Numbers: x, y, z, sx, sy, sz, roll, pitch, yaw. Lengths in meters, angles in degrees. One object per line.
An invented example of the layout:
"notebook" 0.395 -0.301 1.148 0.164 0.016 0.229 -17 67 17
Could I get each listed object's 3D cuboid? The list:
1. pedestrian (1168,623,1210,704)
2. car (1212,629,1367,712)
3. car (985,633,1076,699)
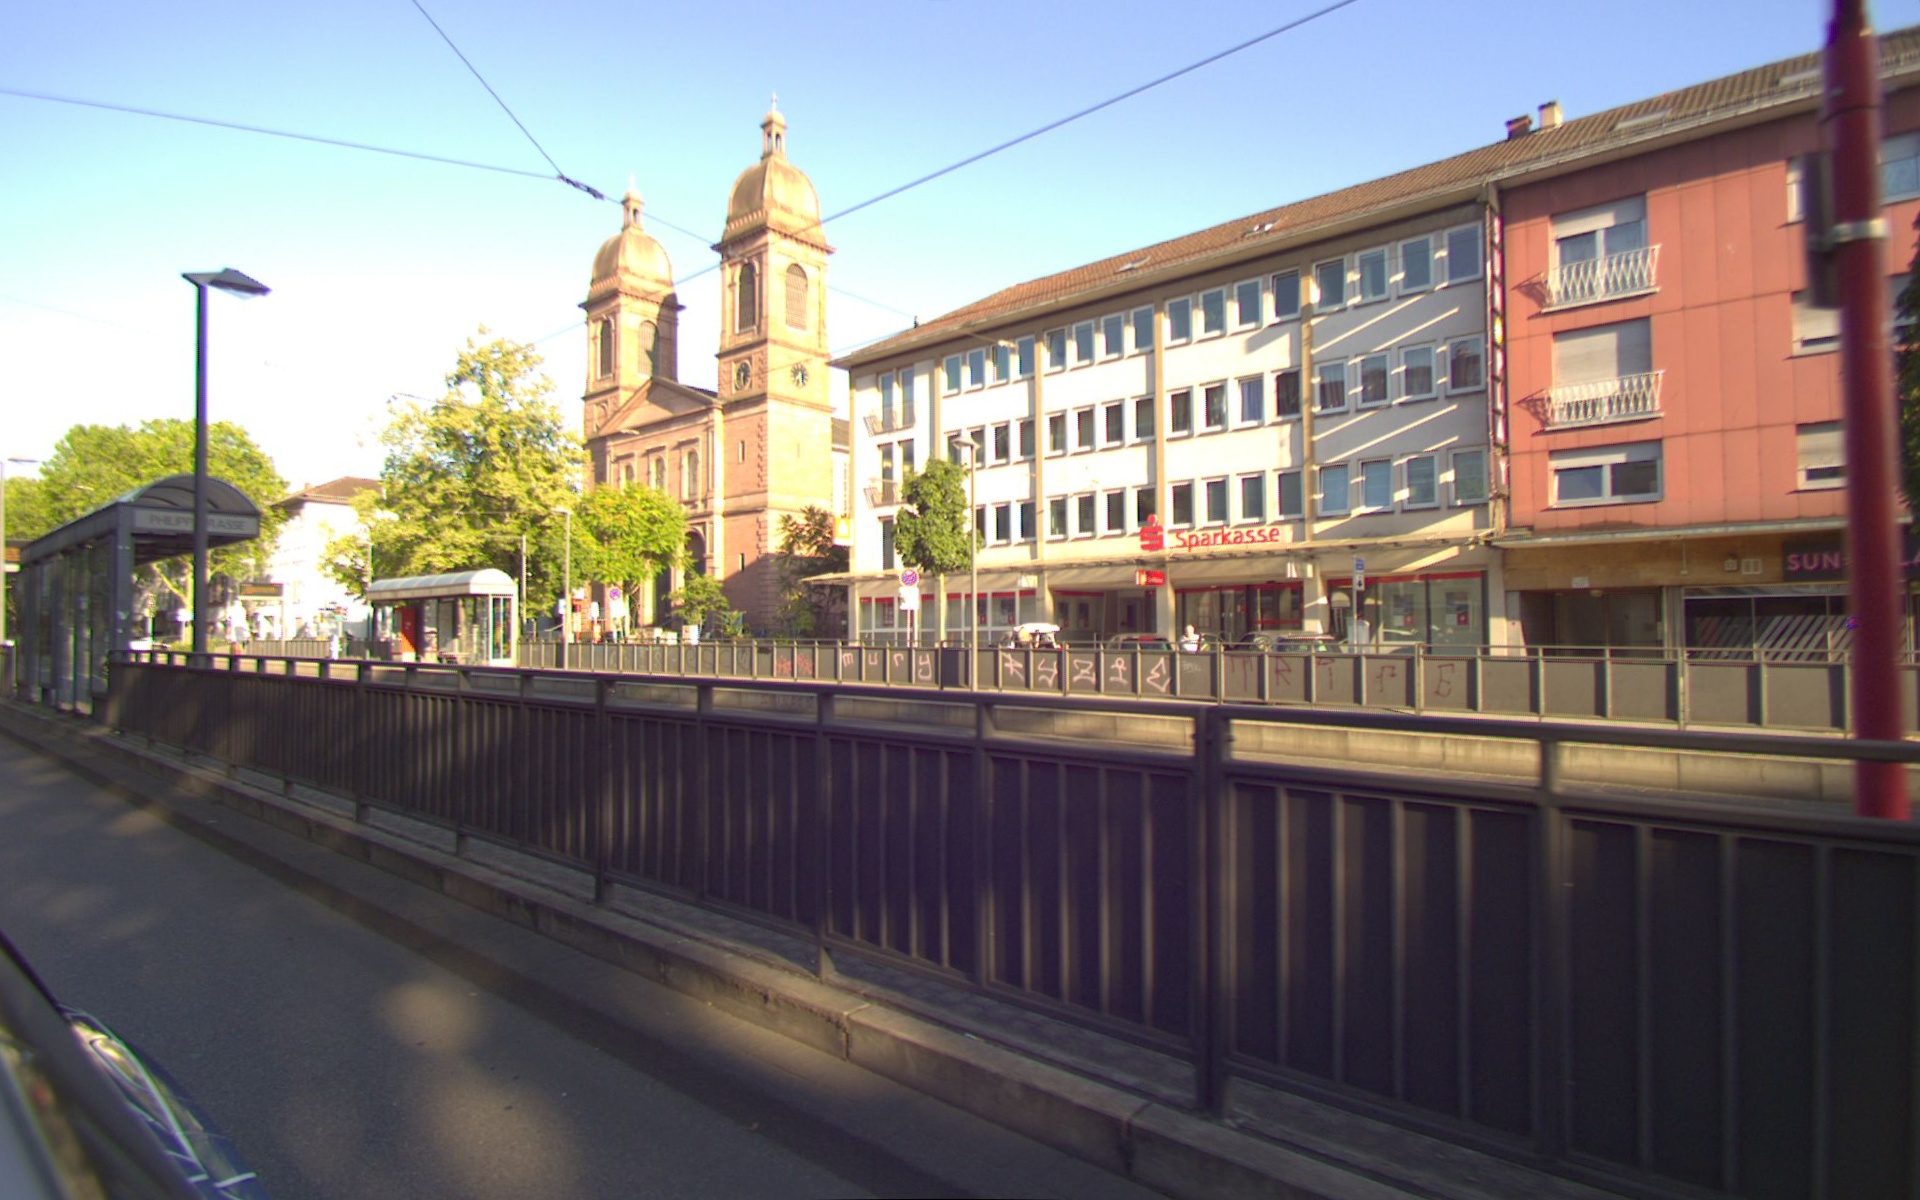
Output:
"pedestrian" 5.285 1.448 23.397 0.757 1.801 0.725 -1 0 -2
"car" 7.197 1.491 22.574 1.841 1.541 4.004 -1 0 -5
"car" 1.834 1.730 27.633 1.716 1.497 4.006 -1 0 -7
